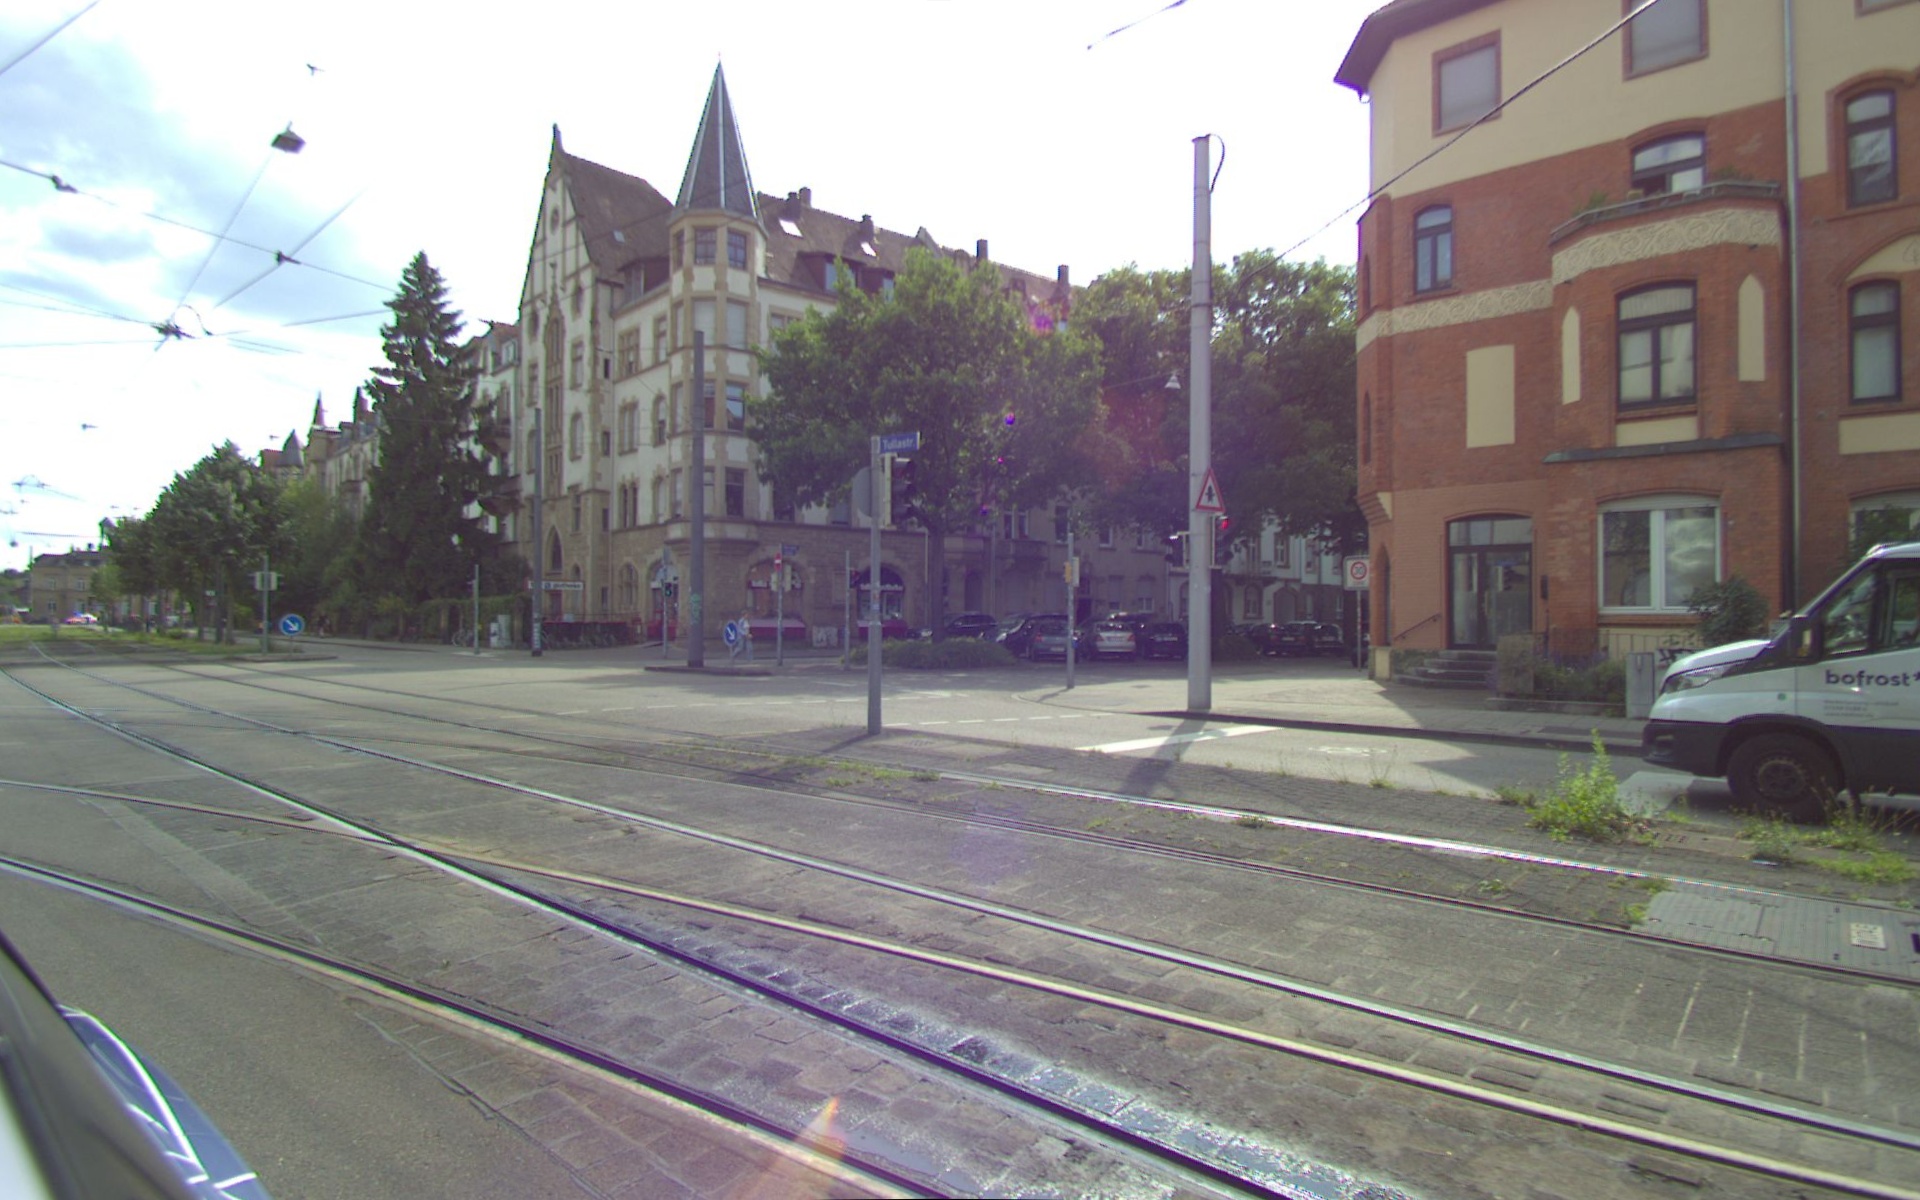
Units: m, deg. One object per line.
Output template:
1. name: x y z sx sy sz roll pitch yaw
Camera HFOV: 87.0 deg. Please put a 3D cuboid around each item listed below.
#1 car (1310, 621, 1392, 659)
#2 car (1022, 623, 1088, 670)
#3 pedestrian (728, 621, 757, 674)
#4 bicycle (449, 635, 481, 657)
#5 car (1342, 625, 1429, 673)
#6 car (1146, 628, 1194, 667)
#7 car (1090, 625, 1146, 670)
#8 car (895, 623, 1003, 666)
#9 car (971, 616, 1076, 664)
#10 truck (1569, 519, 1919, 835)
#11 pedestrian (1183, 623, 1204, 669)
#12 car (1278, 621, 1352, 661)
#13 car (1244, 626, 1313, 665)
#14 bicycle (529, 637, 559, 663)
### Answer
1. car: 19.899 2.009 51.481 3.751 1.837 1.982 -1 -2 27
2. car: 3.402 1.635 36.962 1.972 1.557 4.227 1 -1 0
3. pedestrian: -7.272 1.578 33.865 0.919 1.754 0.771 0 -2 -12
4. bicycle: -22.406 2.059 45.785 0.616 0.979 2.337 1 -2 -45
5. car: 14.721 1.643 34.922 1.557 1.557 3.678 -1 -2 43
6. car: 8.143 1.798 39.152 1.610 1.409 3.552 1 -1 15
7. car: 5.899 1.728 37.541 1.633 1.557 3.712 0 -2 15
8. car: -0.433 1.811 41.804 4.201 1.698 2.002 2 -3 -42
9. car: 2.587 1.618 40.791 3.936 1.835 2.004 2 -3 -39
10. truck: 8.339 0.552 7.113 2.159 2.231 6.617 2 -3 -43
11. pedestrian: 8.682 1.693 37.604 0.738 1.693 0.795 0 -2 16
12. car: 16.139 1.854 46.202 1.898 1.701 4.000 0 -2 -1
13. car: 13.859 1.948 44.283 1.974 1.608 3.995 0 -1 4
14. bicycle: -17.062 2.038 41.498 0.583 0.979 1.630 2 0 -45
